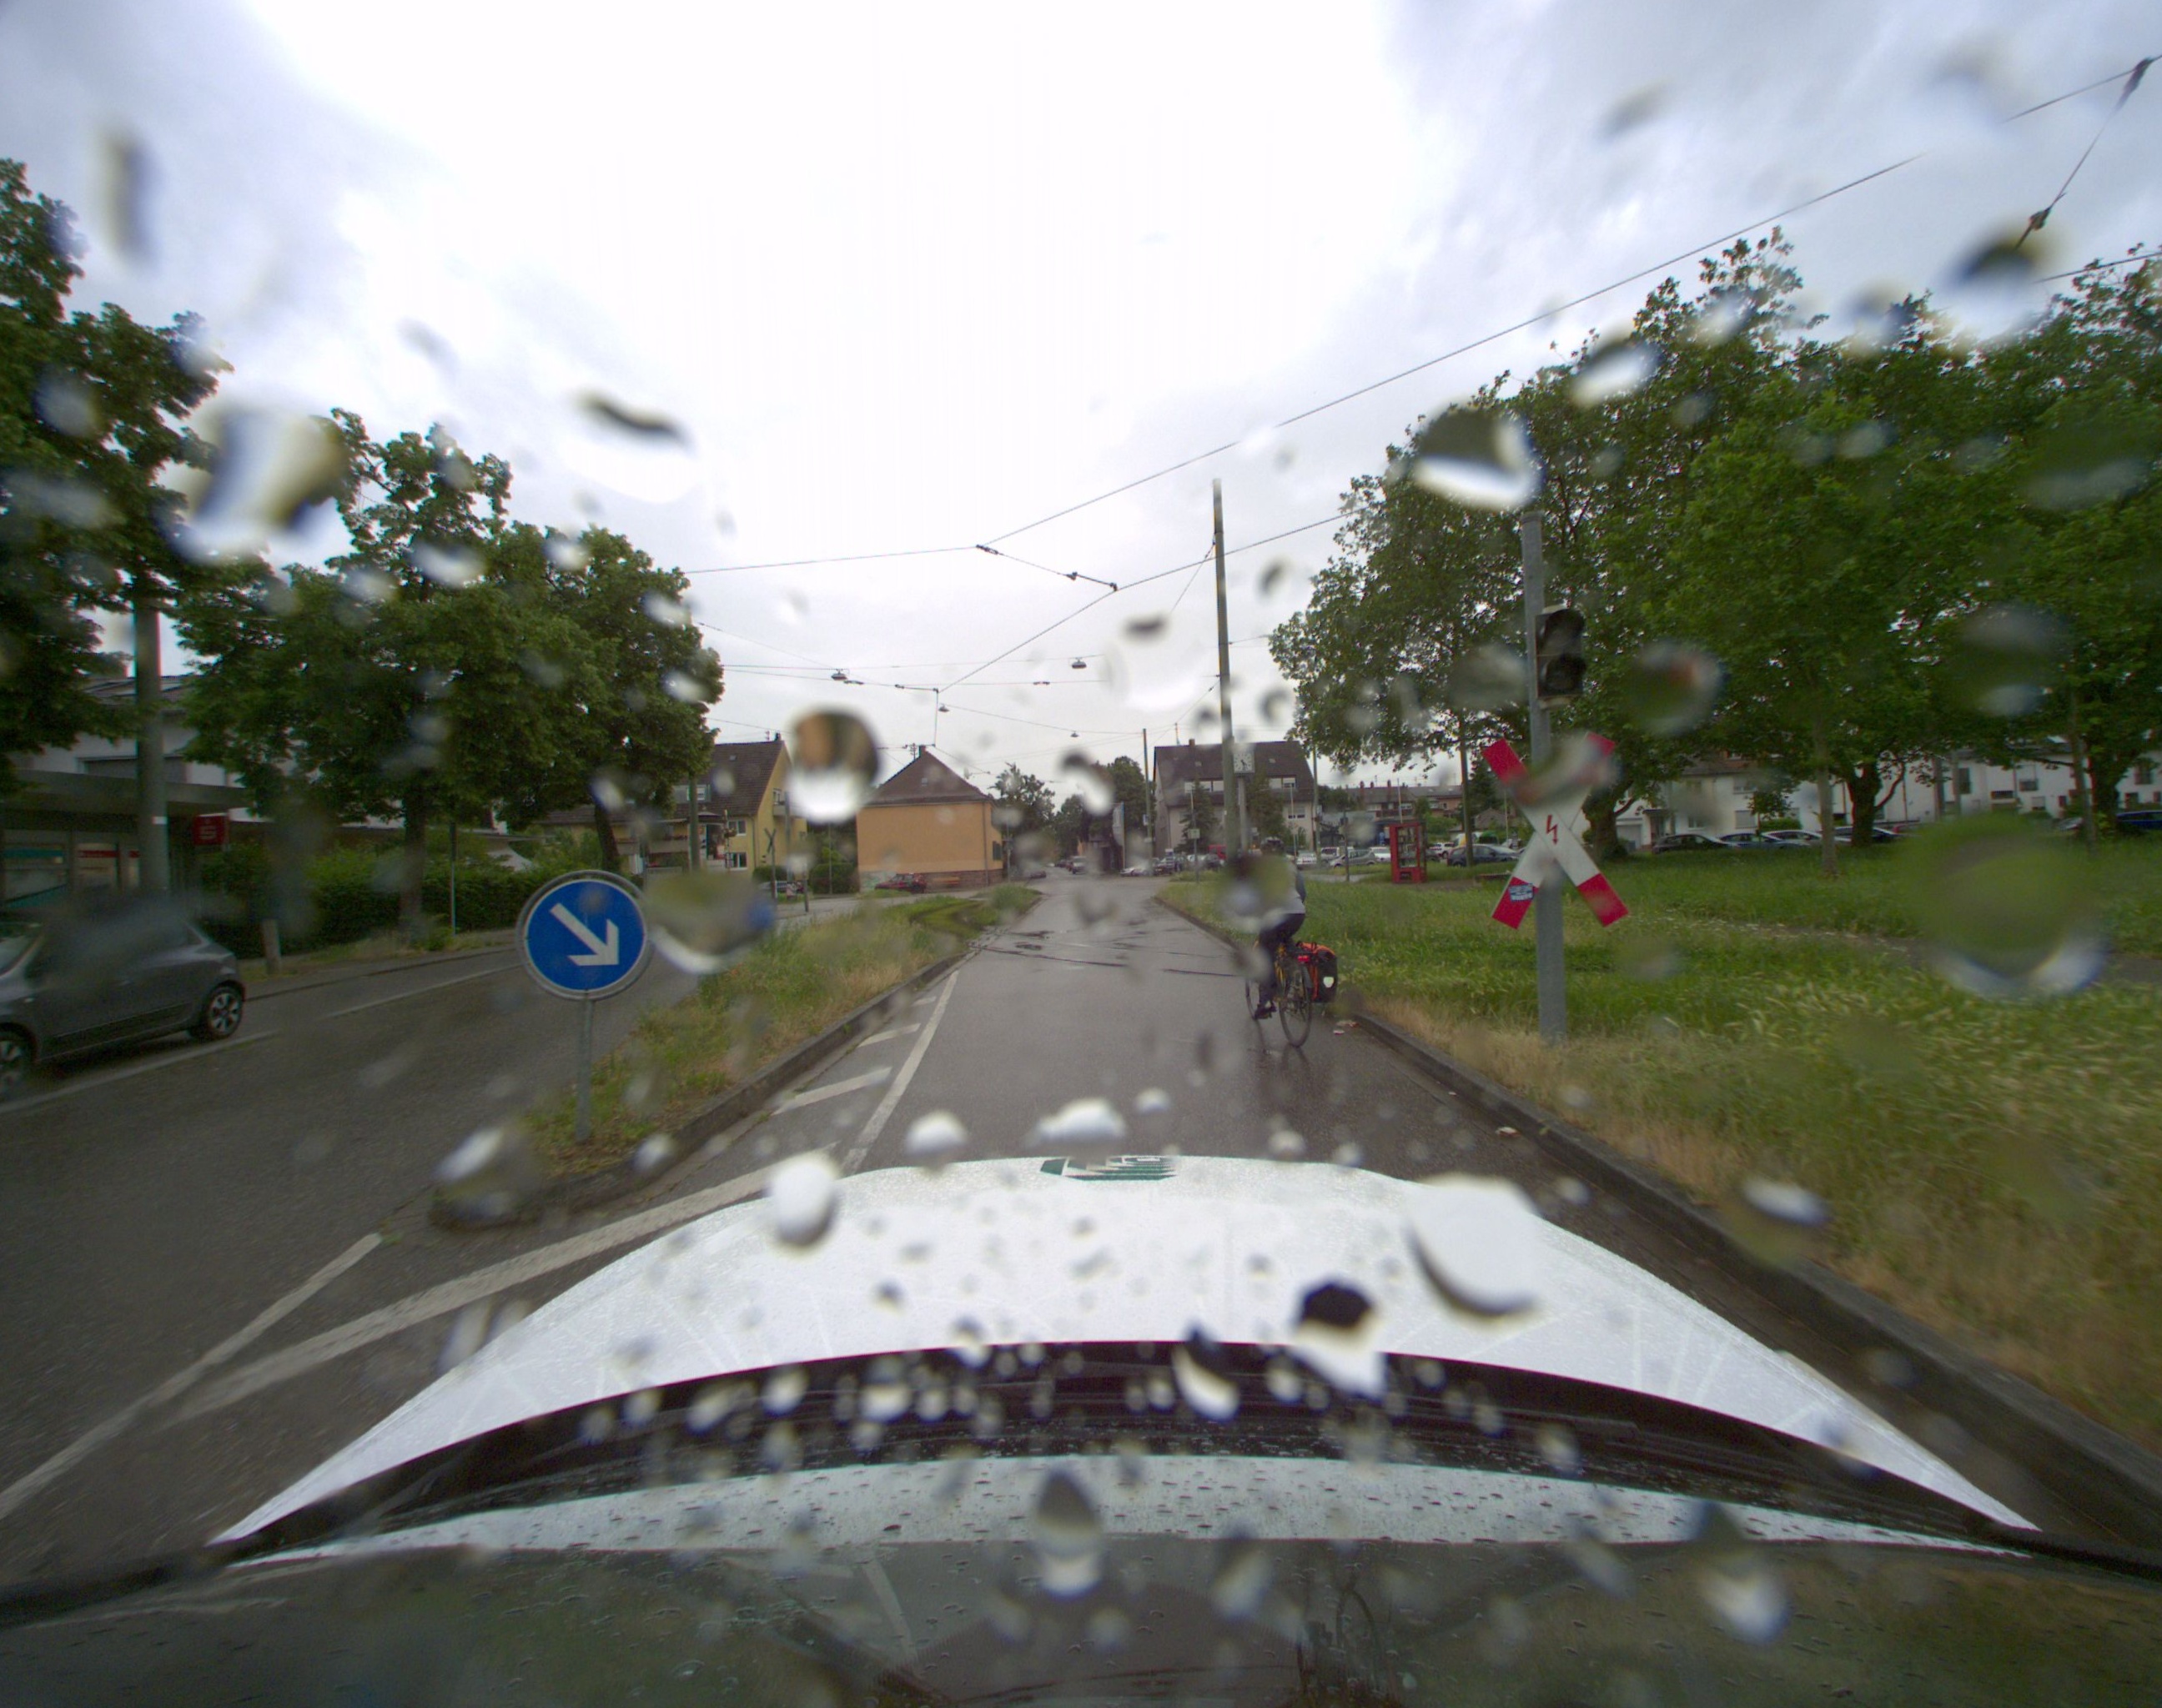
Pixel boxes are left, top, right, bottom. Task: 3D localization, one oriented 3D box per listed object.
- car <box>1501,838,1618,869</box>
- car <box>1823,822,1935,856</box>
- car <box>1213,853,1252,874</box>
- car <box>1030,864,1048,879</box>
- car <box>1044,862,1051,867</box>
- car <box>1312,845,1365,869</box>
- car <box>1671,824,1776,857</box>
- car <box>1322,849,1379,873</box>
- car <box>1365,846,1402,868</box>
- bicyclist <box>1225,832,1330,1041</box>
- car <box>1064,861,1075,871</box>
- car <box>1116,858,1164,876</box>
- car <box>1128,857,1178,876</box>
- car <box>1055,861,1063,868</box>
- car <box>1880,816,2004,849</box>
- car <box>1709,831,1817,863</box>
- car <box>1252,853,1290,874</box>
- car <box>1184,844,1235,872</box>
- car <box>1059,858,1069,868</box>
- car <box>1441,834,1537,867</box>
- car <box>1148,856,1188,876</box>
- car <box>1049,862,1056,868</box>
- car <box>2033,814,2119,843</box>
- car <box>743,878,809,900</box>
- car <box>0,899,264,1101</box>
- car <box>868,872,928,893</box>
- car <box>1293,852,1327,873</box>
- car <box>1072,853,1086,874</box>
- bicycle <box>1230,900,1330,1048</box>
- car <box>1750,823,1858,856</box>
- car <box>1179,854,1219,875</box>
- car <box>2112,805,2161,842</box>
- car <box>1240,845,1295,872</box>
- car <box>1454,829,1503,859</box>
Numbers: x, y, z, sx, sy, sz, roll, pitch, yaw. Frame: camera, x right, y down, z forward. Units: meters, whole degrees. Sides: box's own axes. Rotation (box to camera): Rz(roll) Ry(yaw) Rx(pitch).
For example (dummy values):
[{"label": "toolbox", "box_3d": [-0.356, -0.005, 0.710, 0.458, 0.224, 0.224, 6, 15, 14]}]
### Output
[{"label": "car", "box_3d": [20.772, -0.007, 35.501, 3.963, 1.285, 1.851, -1, -1, 9]}, {"label": "car", "box_3d": [39.581, -0.702, 40.460, 1.821, 1.495, 3.867, 0, -1, -44]}, {"label": "car", "box_3d": [12.226, 0.789, 65.597, 1.975, 1.640, 4.024, -1, -1, 28]}, {"label": "car", "box_3d": [-4.719, 1.911, 91.558, 1.798, 1.651, 4.000, -1, -1, 0]}, {"label": "car", "box_3d": [-9.424, 2.896, 229.881, 1.798, 1.461, 4.000, -1, -1, 0]}, {"label": "car", "box_3d": [22.466, 0.277, 71.172, 3.974, 1.951, 2.000, -1, -1, 0]}, {"label": "car", "box_3d": [31.035, -0.612, 39.465, 3.865, 1.495, 1.822, -1, -1, 35]}, {"label": "car", "box_3d": [19.851, 0.510, 60.076, 3.669, 1.701, 1.891, -1, -1, 3]}, {"label": "car", "box_3d": [24.841, 0.277, 67.010, 1.983, 1.791, 4.007, -1, -1, 6]}, {"label": "bicyclist", "box_3d": [1.614, 0.648, 6.805, 0.664, 1.626, 0.853, -1, -1, 1]}, {"label": "car", "box_3d": [-2.006, 2.129, 143.233, 1.798, 1.811, 4.000, -1, -1, 0]}, {"label": "car", "box_3d": [5.451, 1.179, 75.415, 4.015, 1.643, 1.979, 0, -1, -33]}, {"label": "car", "box_3d": [6.387, 1.089, 72.311, 4.015, 1.675, 1.979, 0, -1, -33]}, {"label": "car", "box_3d": [-5.568, 2.645, 207.278, 1.798, 1.564, 4.000, -1, -1, 0]}, {"label": "car", "box_3d": [42.945, -1.021, 40.699, 1.814, 1.495, 3.882, 0, -1, -26]}, {"label": "car", "box_3d": [33.560, -0.314, 40.146, 1.821, 1.495, 3.867, 0, -1, -44]}, {"label": "car", "box_3d": [15.342, 0.757, 65.708, 1.975, 1.640, 4.024, -1, -1, 28]}, {"label": "car", "box_3d": [11.880, 0.384, 75.076, 4.361, 2.566, 2.009, -1, -1, 17]}, {"label": "car", "box_3d": [-3.298, 1.786, 160.539, 1.798, 1.811, 4.000, -1, -1, 0]}, {"label": "car", "box_3d": [20.123, -0.148, 40.243, 1.821, 1.495, 3.867, 0, -1, -44]}, {"label": "car", "box_3d": [7.345, 0.994, 68.351, 1.975, 1.640, 4.024, -1, -1, 28]}, {"label": "car", "box_3d": [-7.820, 2.984, 224.557, 1.798, 1.461, 4.000, -1, -1, 0]}, {"label": "car", "box_3d": [75.265, -1.908, 61.655, 3.970, 2.036, 2.001, -1, -1, 3]}, {"label": "car", "box_3d": [-21.583, 2.436, 57.739, 3.979, 1.456, 1.831, -1, -1, -4]}, {"label": "car", "box_3d": [-9.732, 1.239, 7.452, 1.621, 1.496, 3.646, 0, -1, -17]}, {"label": "car", "box_3d": [-13.130, 2.030, 58.693, 3.979, 1.456, 1.831, -1, -1, -4]}, {"label": "car", "box_3d": [18.578, 0.726, 65.985, 1.823, 1.640, 4.024, -1, -1, 28]}, {"label": "car", "box_3d": [-0.233, 1.230, 103.770, 1.798, 2.627, 4.000, -1, -1, 0]}, {"label": "bicycle", "box_3d": [1.655, 0.951, 6.995, 0.444, 1.004, 1.728, -2, 0, 1]}, {"label": "car", "box_3d": [36.025, -0.661, 40.611, 1.821, 1.495, 3.867, 0, -1, -44]}, {"label": "car", "box_3d": [9.708, 0.836, 66.855, 1.975, 1.640, 4.024, -1, -1, 28]}, {"label": "car", "box_3d": [54.949, -1.554, 40.746, 1.815, 1.765, 3.879, 0, -1, -29]}, {"label": "car", "box_3d": [16.288, 0.401, 71.349, 4.380, 2.325, 2.000, -1, -1, 0]}, {"label": "car", "box_3d": [33.191, -0.800, 68.124, 1.986, 2.443, 4.354, -1, -1, 1]}]
